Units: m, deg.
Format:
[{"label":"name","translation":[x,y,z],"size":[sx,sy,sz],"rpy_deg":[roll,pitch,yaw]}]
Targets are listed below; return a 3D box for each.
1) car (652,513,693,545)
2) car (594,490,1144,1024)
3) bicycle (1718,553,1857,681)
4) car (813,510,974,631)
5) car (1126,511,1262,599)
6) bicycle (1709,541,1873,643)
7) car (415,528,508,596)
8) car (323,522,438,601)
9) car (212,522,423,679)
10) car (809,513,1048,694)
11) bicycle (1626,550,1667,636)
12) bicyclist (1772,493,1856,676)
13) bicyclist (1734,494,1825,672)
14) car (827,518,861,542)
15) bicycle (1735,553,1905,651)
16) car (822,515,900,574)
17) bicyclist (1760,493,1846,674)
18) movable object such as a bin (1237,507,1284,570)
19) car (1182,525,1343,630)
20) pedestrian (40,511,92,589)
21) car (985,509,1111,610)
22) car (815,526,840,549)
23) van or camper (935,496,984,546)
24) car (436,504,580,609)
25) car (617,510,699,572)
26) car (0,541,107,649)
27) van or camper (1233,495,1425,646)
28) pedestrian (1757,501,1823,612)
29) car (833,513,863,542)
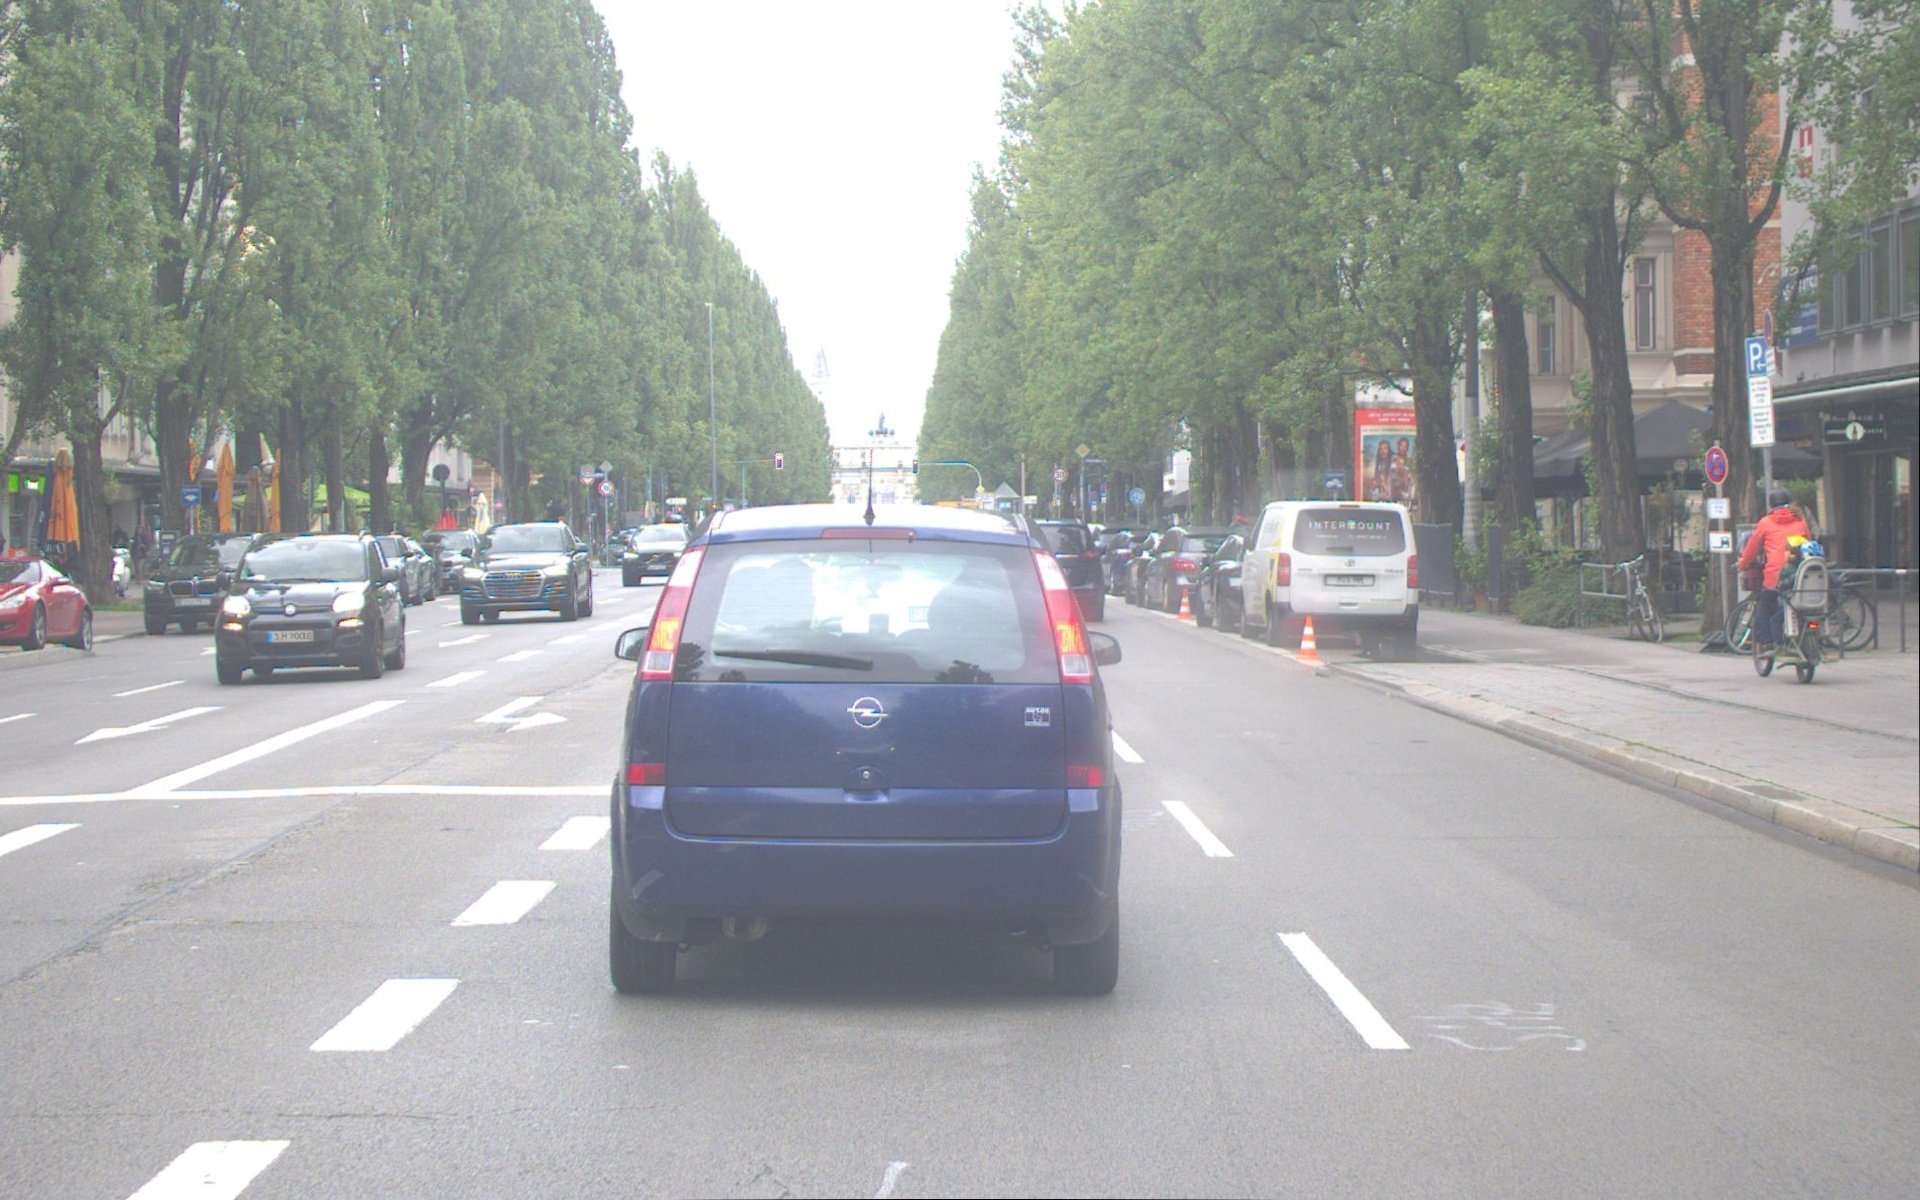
[{"label":"car","translation":[-15.336,-3.803,183.533],"size":[1.993,1.656,4.001],"rpy_deg":[-1,1,-2]},{"label":"car","translation":[-0.356,0.434,12.579],"size":[1.681,1.635,4.001],"rpy_deg":[0,1,-2]},{"label":"bicycle","translation":[7.436,0.134,30.996],"size":[0.626,1.083,2.264],"rpy_deg":[-1,1,-2]},{"label":"car","translation":[-0.901,-0.425,44.987],"size":[1.993,1.492,4.001],"rpy_deg":[-1,2,-2]},{"label":"car","translation":[4.143,-0.825,61.548],"size":[1.816,1.501,4.233],"rpy_deg":[-1,1,-4]},{"label":"bicycle","translation":[9.252,-0.096,38.282],"size":[1.737,1.106,0.448],"rpy_deg":[-1,1,-11]},{"label":"car","translation":[-13.026,-1.019,89.994],"size":[1.864,1.649,4.616],"rpy_deg":[-3,1,-2]},{"label":"car","translation":[-12.353,-0.850,73.458],"size":[1.782,1.570,4.133],"rpy_deg":[-2,1,-1]},{"label":"car","translation":[-6.583,-0.039,35.514],"size":[1.561,1.491,3.695],"rpy_deg":[-2,1,-2]},{"label":"car","translation":[-0.334,-0.019,30.811],"size":[1.993,1.492,4.001],"rpy_deg":[-1,2,-2]},{"label":"bicycle","translation":[8.640,-0.098,43.269],"size":[0.364,1.034,1.730],"rpy_deg":[0,1,7]},{"label":"bicyclist","translation":[7.464,-0.142,30.059],"size":[0.621,1.583,0.391],"rpy_deg":[-1,1,-2]},{"label":"bicyclist","translation":[7.425,-0.162,31.162],"size":[0.621,1.583,0.753],"rpy_deg":[-1,1,-2]},{"label":"car","translation":[-6.876,-4.171,204.210],"size":[1.961,1.394,3.779],"rpy_deg":[-1,1,-2]},{"label":"bicycle","translation":[9.406,0.020,37.605],"size":[1.757,1.040,0.484],"rpy_deg":[-1,1,-12]},{"label":"car","translation":[-2.613,-1.462,90.009],"size":[1.993,1.492,4.001],"rpy_deg":[0,1,-2]},{"label":"bicyclist","translation":[7.451,-0.148,30.399],"size":[0.621,1.583,0.481],"rpy_deg":[-1,1,-2]},{"label":"movable object such as a bin","translation":[8.339,-1.709,95.396],"size":[1.032,1.697,1.587],"rpy_deg":[-1,1,-5]},{"label":"car","translation":[4.412,-0.365,50.748],"size":[1.719,1.437,4.354],"rpy_deg":[2,1,-3]},{"label":"pedestrian","translation":[-20.130,-1.132,77.406],"size":[0.851,1.738,1.148],"rpy_deg":[0,1,-1]},{"label":"car","translation":[1.391,-0.689,55.836],"size":[1.706,1.568,4.001],"rpy_deg":[0,1,-3]},{"label":"car","translation":[-9.839,-4.682,255.754],"size":[1.835,1.671,3.779],"rpy_deg":[-1,1,-2]},{"label":"van or camper","translation":[-0.032,-4.170,181.651],"size":[2.476,2.572,5.845],"rpy_deg":[-1,1,-1]},{"label":"car","translation":[-7.518,-0.761,57.571],"size":[1.913,1.675,4.587],"rpy_deg":[0,1,-1]},{"label":"car","translation":[-8.168,-1.622,93.247],"size":[1.935,1.618,4.337],"rpy_deg":[0,1,-1]},{"label":"car","translation":[-12.418,-0.089,44.295],"size":[1.879,1.293,4.095],"rpy_deg":[-1,1,-1]},{"label":"van or camper","translation":[4.785,-0.424,45.202],"size":[1.868,1.876,4.904],"rpy_deg":[0,1,-1]},{"label":"pedestrian","translation":[13.902,-0.729,57.610],"size":[0.826,1.834,1.099],"rpy_deg":[-1,1,0]},{"label":"car","translation":[-6.822,-4.438,209.462],"size":[1.835,1.755,3.779],"rpy_deg":[-1,1,-2]}]
